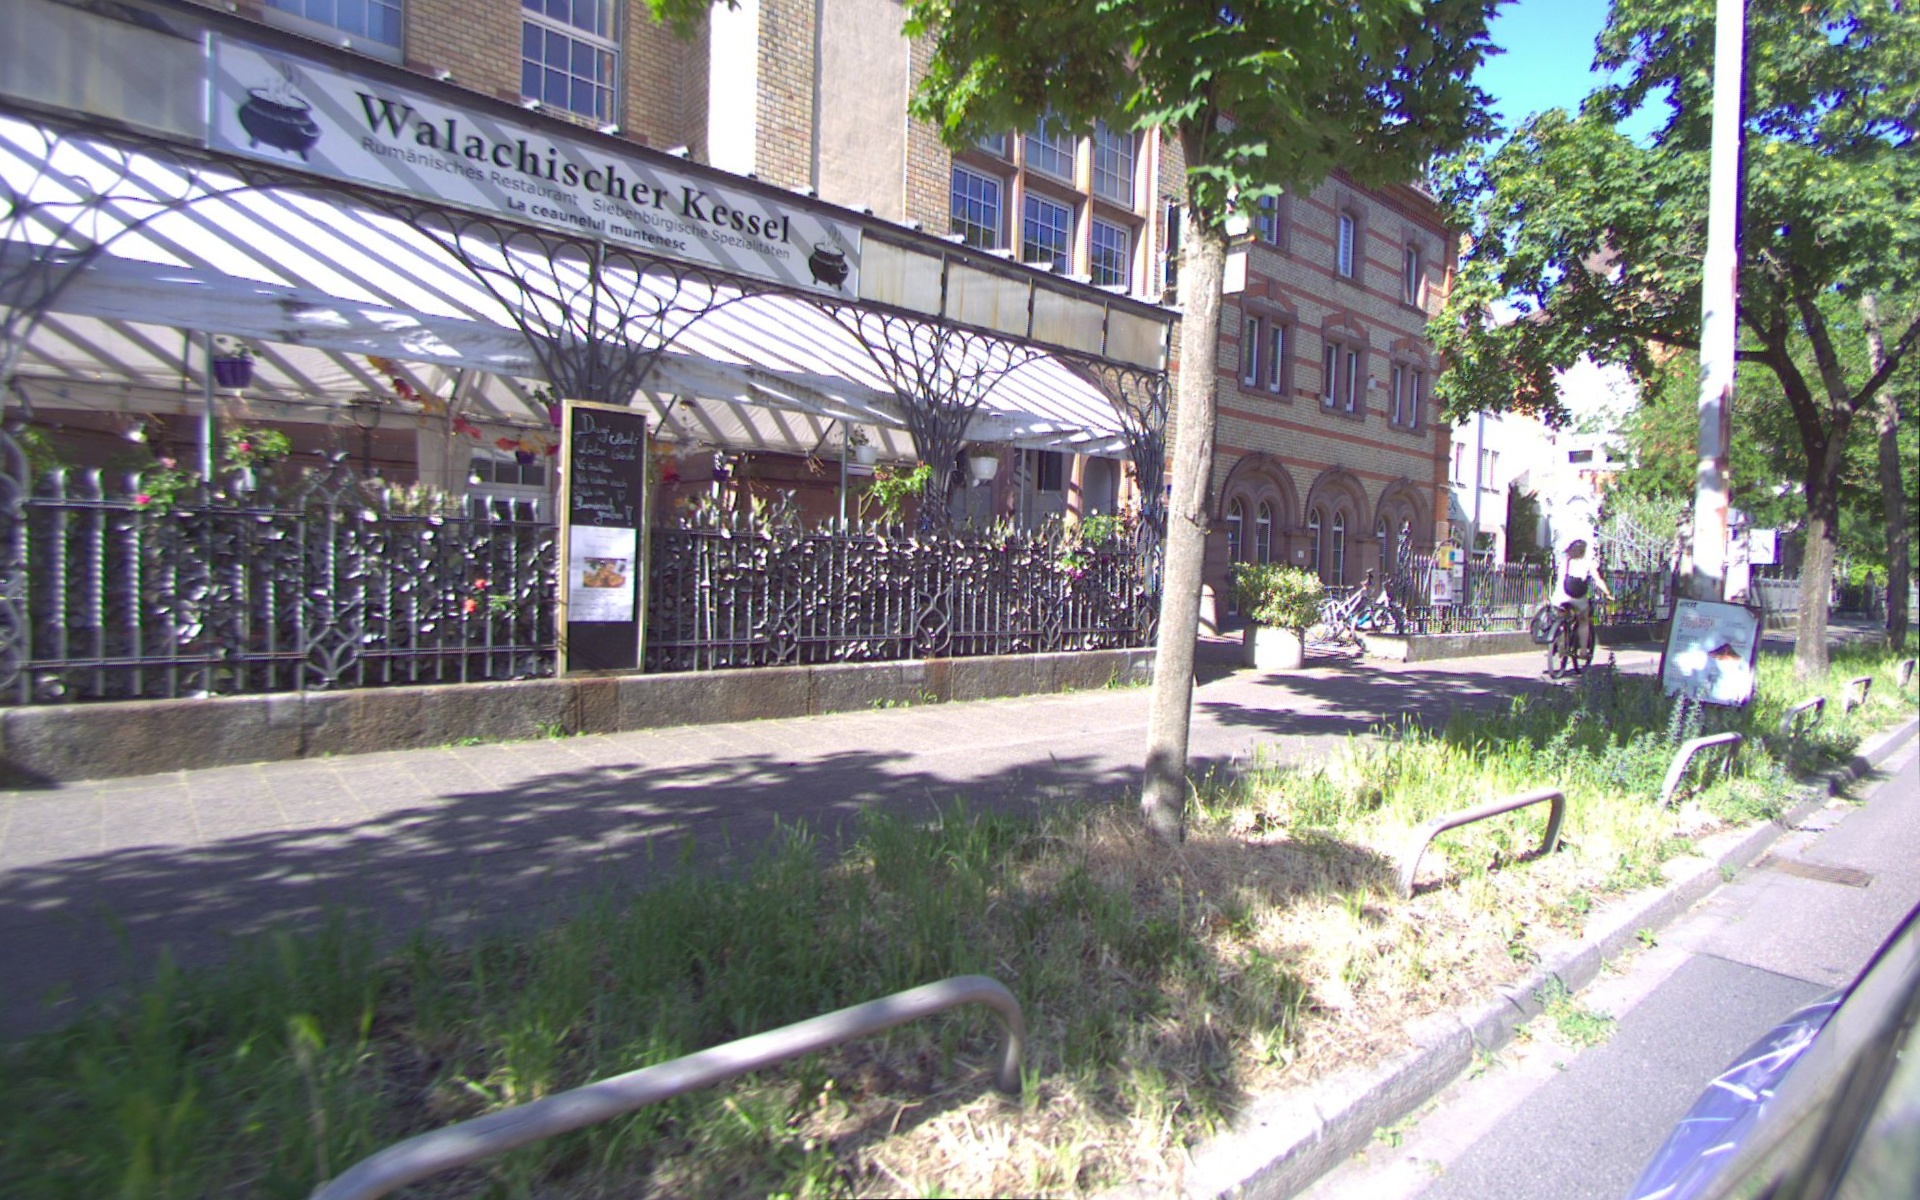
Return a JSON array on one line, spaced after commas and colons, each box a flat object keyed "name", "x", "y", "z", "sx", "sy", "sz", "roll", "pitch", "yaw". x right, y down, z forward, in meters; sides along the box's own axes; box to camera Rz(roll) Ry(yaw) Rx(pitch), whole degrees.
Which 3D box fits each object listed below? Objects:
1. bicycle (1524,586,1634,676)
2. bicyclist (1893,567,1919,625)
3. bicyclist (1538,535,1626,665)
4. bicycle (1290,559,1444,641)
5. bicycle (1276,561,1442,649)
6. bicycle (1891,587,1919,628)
[{"name": "bicycle", "x": 8.072, "y": 0.365, "z": 13.156, "sx": 2.061, "sy": 1.040, "sz": 0.686, "roll": -1, "pitch": 3, "yaw": -43}, {"name": "bicyclist", "x": 29.639, "y": -0.121, "z": 31.477, "sx": 0.873, "sy": 1.715, "sz": 0.647, "roll": 1, "pitch": 5, "yaw": -41}, {"name": "bicyclist", "x": 8.107, "y": -0.022, "z": 13.190, "sx": 0.939, "sy": 1.618, "sz": 0.701, "roll": -1, "pitch": 3, "yaw": -43}, {"name": "bicycle", "x": 6.519, "y": -0.035, "z": 16.300, "sx": 2.196, "sy": 1.193, "sz": 0.676, "roll": 3, "pitch": 3, "yaw": 44}, {"name": "bicycle", "x": 5.935, "y": 0.034, "z": 15.166, "sx": 2.196, "sy": 1.193, "sz": 0.676, "roll": 3, "pitch": 3, "yaw": 44}, {"name": "bicycle", "x": 29.665, "y": 0.216, "z": 31.541, "sx": 1.811, "sy": 1.190, "sz": 0.654, "roll": 0, "pitch": 5, "yaw": -41}]
